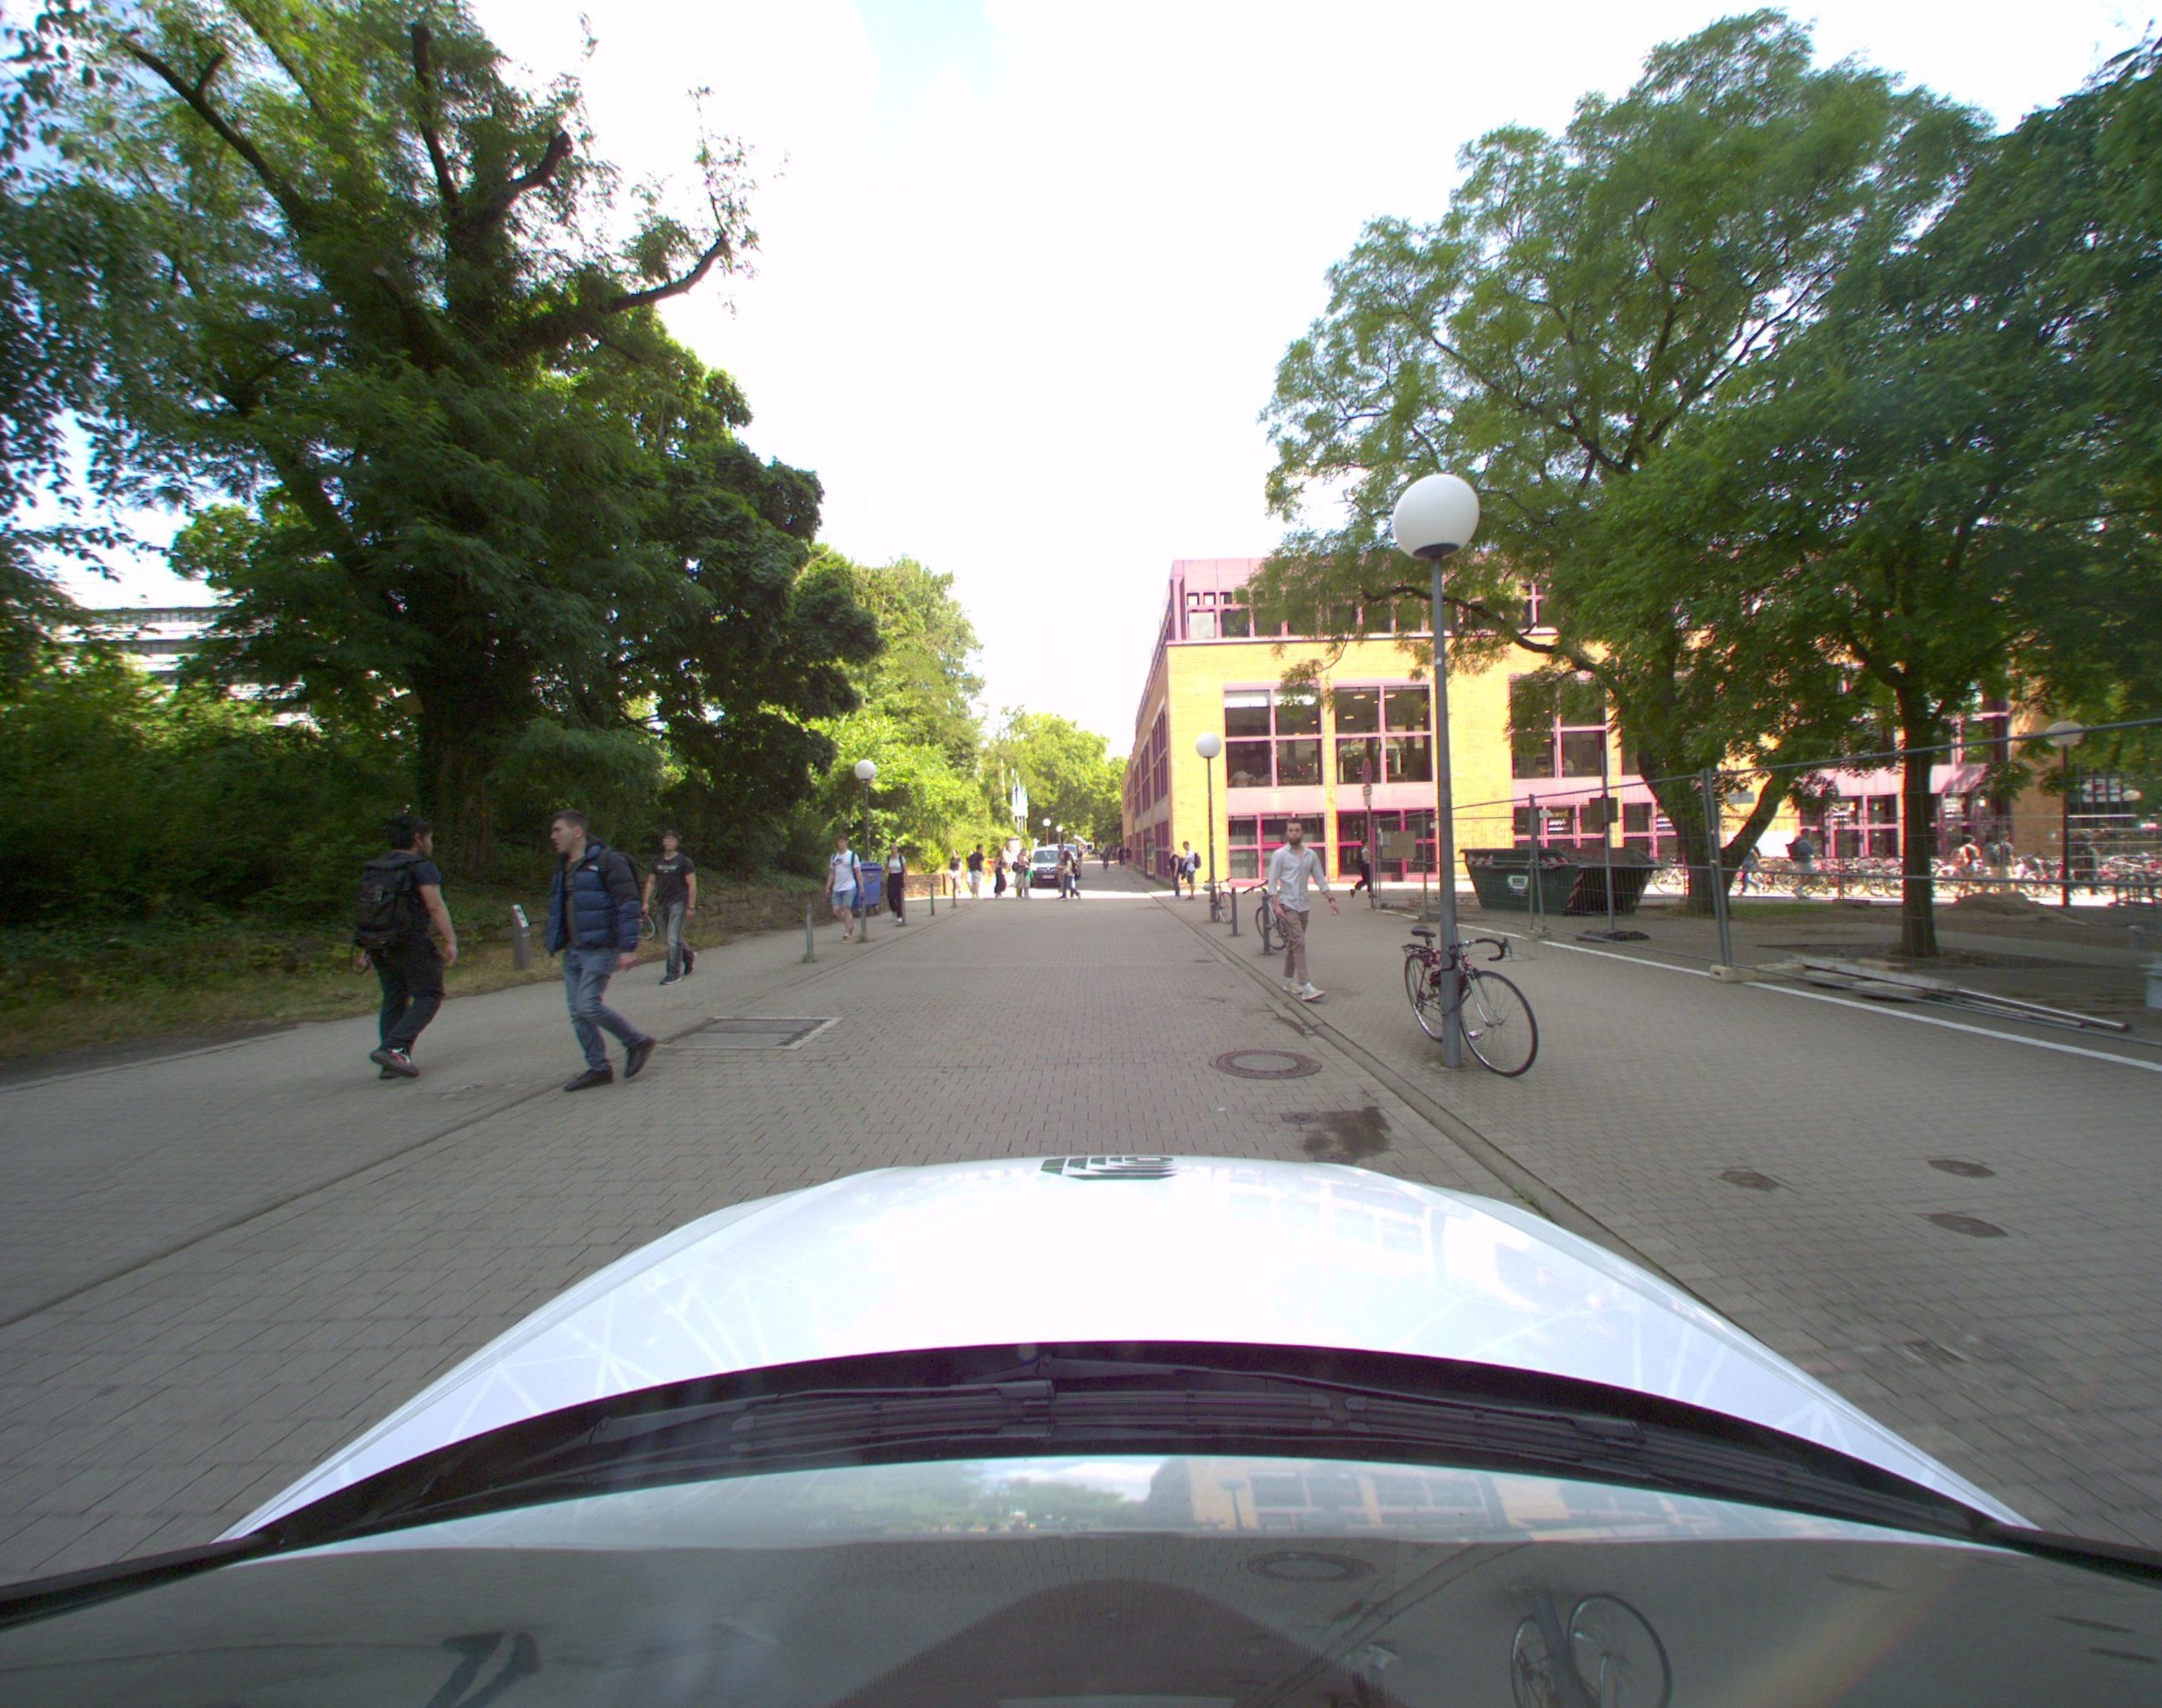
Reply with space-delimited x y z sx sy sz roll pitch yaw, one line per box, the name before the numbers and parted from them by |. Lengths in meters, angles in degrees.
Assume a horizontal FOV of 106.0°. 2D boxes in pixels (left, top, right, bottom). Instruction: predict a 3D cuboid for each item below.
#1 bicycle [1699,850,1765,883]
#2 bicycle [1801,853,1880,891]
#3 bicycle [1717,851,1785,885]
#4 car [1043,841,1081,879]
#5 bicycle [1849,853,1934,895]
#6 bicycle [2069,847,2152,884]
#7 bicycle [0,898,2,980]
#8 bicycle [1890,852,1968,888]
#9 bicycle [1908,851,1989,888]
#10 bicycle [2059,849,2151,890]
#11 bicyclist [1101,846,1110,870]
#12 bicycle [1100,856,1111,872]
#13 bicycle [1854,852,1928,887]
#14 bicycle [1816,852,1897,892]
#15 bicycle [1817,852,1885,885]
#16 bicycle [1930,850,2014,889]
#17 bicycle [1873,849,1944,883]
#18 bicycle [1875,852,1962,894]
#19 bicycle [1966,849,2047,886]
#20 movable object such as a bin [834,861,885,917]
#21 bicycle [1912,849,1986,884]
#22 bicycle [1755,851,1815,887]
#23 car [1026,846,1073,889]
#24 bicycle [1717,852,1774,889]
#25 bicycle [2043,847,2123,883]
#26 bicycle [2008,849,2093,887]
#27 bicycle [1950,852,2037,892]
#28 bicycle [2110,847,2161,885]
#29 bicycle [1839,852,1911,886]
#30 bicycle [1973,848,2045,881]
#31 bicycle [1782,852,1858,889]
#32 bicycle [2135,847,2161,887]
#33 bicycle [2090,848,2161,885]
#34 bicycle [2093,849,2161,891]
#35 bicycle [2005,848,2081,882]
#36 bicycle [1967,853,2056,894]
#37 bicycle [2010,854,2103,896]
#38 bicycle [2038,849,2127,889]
bicycle | 23.258 0.432 29.117 1.990 1.169 0.474 0 0 -1
bicycle | 23.379 0.546 25.086 1.990 1.169 0.474 0 0 0
bicycle | 23.125 0.483 28.133 1.990 1.169 0.474 0 0 -1
car | -0.990 0.295 46.215 1.877 1.974 5.216 -1 0 1
bicycle | 23.298 0.570 23.423 1.990 1.169 0.474 0 0 0
bicycle | 33.157 0.366 26.243 1.990 1.169 0.545 0 0 0
bicycle | -9.795 0.893 6.272 0.468 1.047 1.709 1 0 23
bicycle | 27.445 0.512 26.376 1.990 1.169 0.545 0 0 0
bicycle | 27.470 0.484 25.792 1.990 1.169 0.545 0 0 0
bicycle | 29.675 0.434 23.607 1.990 1.169 0.545 0 0 0
bicyclist | 1.732 0.273 58.432 0.585 1.716 0.665 -1 0 -2
bicycle | 1.746 0.701 58.360 0.585 1.083 1.906 -1 0 -2
bicycle | 27.363 0.504 27.521 1.990 1.169 0.545 0 0 0
bicycle | 23.324 0.539 24.501 1.990 1.169 0.474 0 0 0
bicycle | 27.571 0.524 29.159 1.991 1.169 0.545 0 0 -3
bicycle | 27.501 0.476 25.146 1.990 1.169 0.545 0 0 0
bicycle | 29.561 0.425 29.110 1.990 1.169 0.545 0 0 0
bicycle | 23.438 0.535 22.804 1.990 1.169 0.474 0 0 0
bicycle | 29.579 0.438 26.038 1.990 1.169 0.545 0 0 0
movable object such as a bin | -5.520 0.846 20.369 0.705 1.336 1.243 1 0 11
bicycle | 29.777 0.426 27.951 1.990 1.169 0.545 0 0 0
bicycle | 23.285 0.487 26.943 2.000 1.169 0.472 0 0 -15
car | -1.342 0.554 36.460 1.784 1.761 4.482 -2 0 1
bicycle | 21.261 0.531 26.050 1.809 1.169 0.471 0 0 -16
bicycle | 33.157 0.366 26.950 1.990 1.169 0.545 0 0 0
bicycle | 29.768 0.425 25.022 1.990 1.169 0.545 0 0 0
bicycle | 27.229 0.539 24.310 1.990 1.169 0.545 0 0 0
bicycle | 33.031 0.375 25.090 1.990 1.169 0.545 0 0 0
bicycle | 27.562 0.509 28.285 1.990 1.169 0.545 0 0 0
bicycle | 33.224 0.369 29.167 1.990 1.169 0.545 0 0 0
bicycle | 23.225 0.517 25.614 1.990 1.169 0.474 0 0 0
bicycle | 32.888 0.379 24.365 1.990 1.169 0.545 0 0 0
bicycle | 33.090 0.384 25.647 1.990 1.169 0.545 0 0 0
bicycle | 29.784 0.443 22.908 1.990 1.169 0.545 0 0 0
bicycle | 33.100 0.375 28.022 1.990 1.169 0.545 0 0 0
bicycle | 27.068 0.571 23.710 1.990 1.169 0.545 0 0 0
bicycle | 27.496 0.585 22.973 1.990 1.169 0.545 0 0 0
bicycle | 29.712 0.436 24.183 1.990 1.169 0.545 0 0 0
